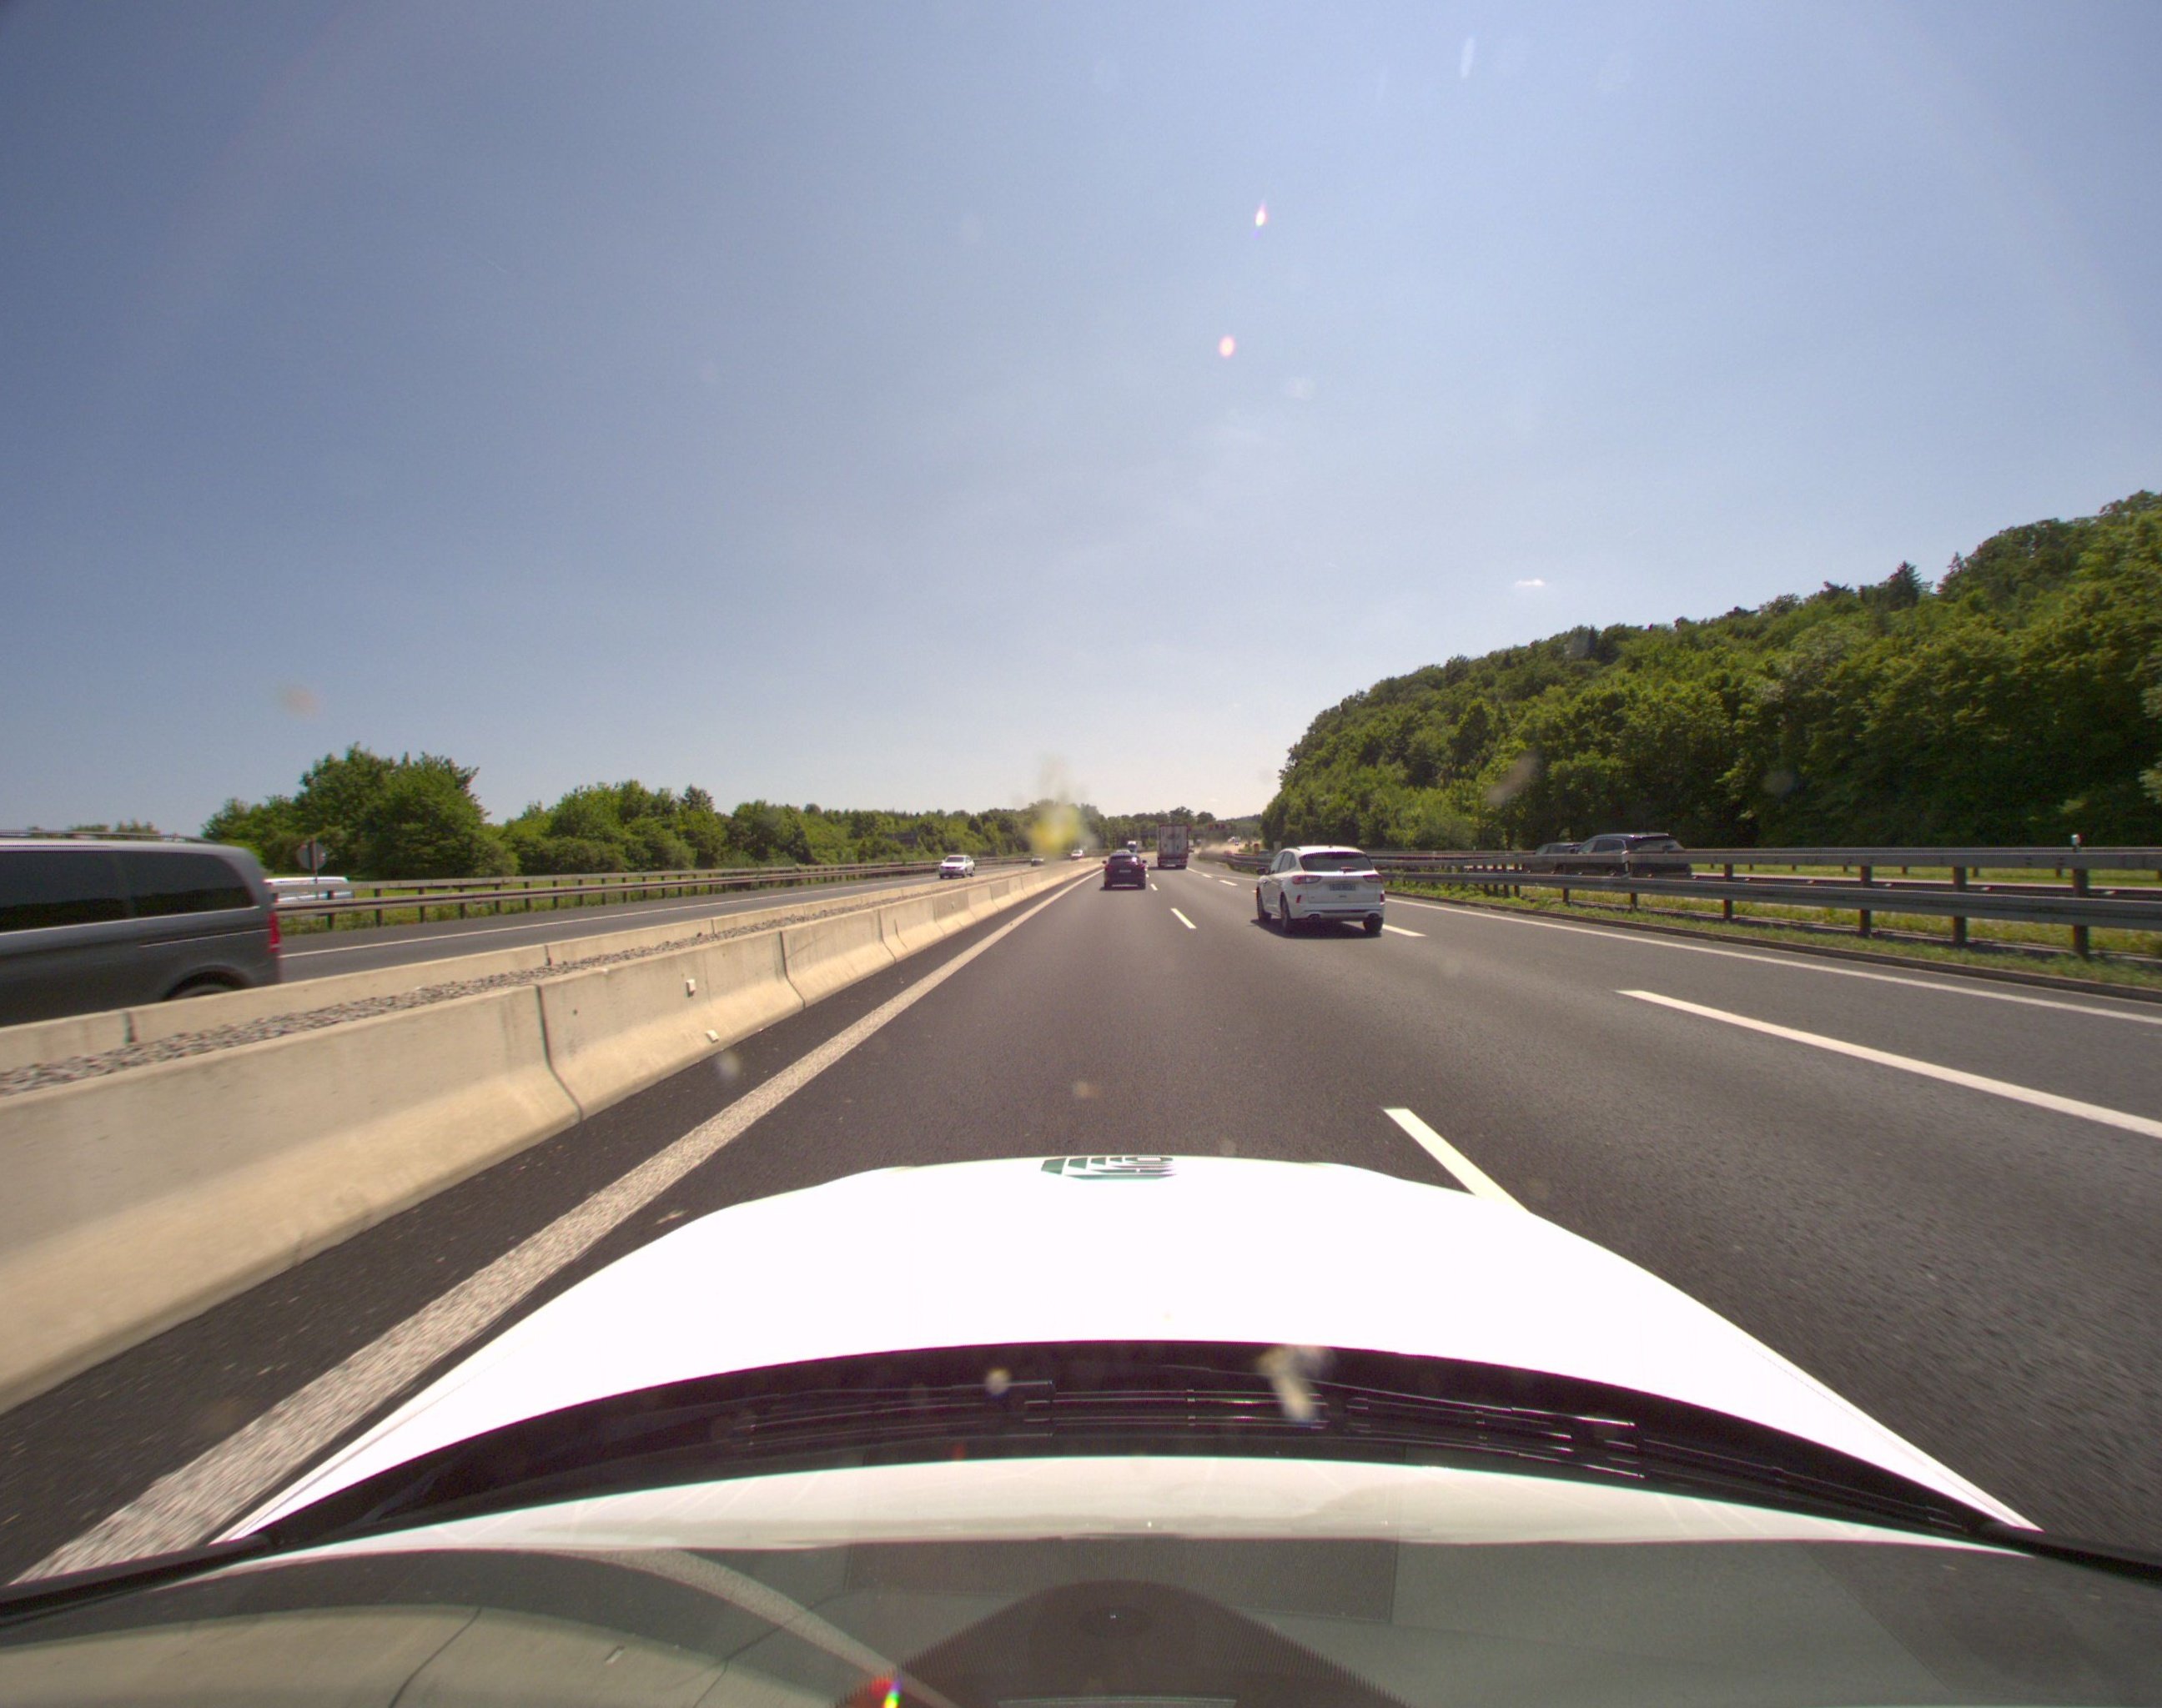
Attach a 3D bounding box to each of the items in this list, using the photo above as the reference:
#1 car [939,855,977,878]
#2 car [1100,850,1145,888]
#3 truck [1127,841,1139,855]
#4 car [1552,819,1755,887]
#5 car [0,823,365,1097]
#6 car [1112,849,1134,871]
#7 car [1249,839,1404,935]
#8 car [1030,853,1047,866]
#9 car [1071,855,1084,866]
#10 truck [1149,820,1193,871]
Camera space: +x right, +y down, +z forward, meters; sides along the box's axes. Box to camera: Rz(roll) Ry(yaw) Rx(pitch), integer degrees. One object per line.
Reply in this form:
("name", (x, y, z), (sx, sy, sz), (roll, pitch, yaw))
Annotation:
("car", (-9.000, 0.869, 59.875), (1.780, 1.632, 4.934), (-1, 0, 3))
("car", (1.804, 0.667, 36.524), (1.774, 1.577, 3.998), (0, -1, -1))
("truck", (15.947, -1.801, 248.501), (2.681, 3.960, 10.804), (-1, -1, 9))
("car", (15.961, -0.006, 23.201), (1.986, 1.662, 5.629), (-1, -1, 2))
("car", (-8.353, 0.739, 5.545), (2.027, 1.858, 5.378), (-1, -1, 2))
("car", (4.304, 0.578, 82.938), (1.985, 2.013, 4.005), (-4, 0, 4))
("car", (4.812, 0.604, 16.697), (1.985, 1.662, 4.470), (-1, -1, 2))
("car", (-5.413, 0.684, 105.162), (1.720, 1.532, 4.265), (0, 0, 4))
("car", (-0.639, 1.173, 148.205), (1.985, 2.014, 5.383), (-1, -1, 3))
("truck", (8.446, -0.707, 77.587), (3.021, 4.418, 12.020), (-1, -1, 1))
